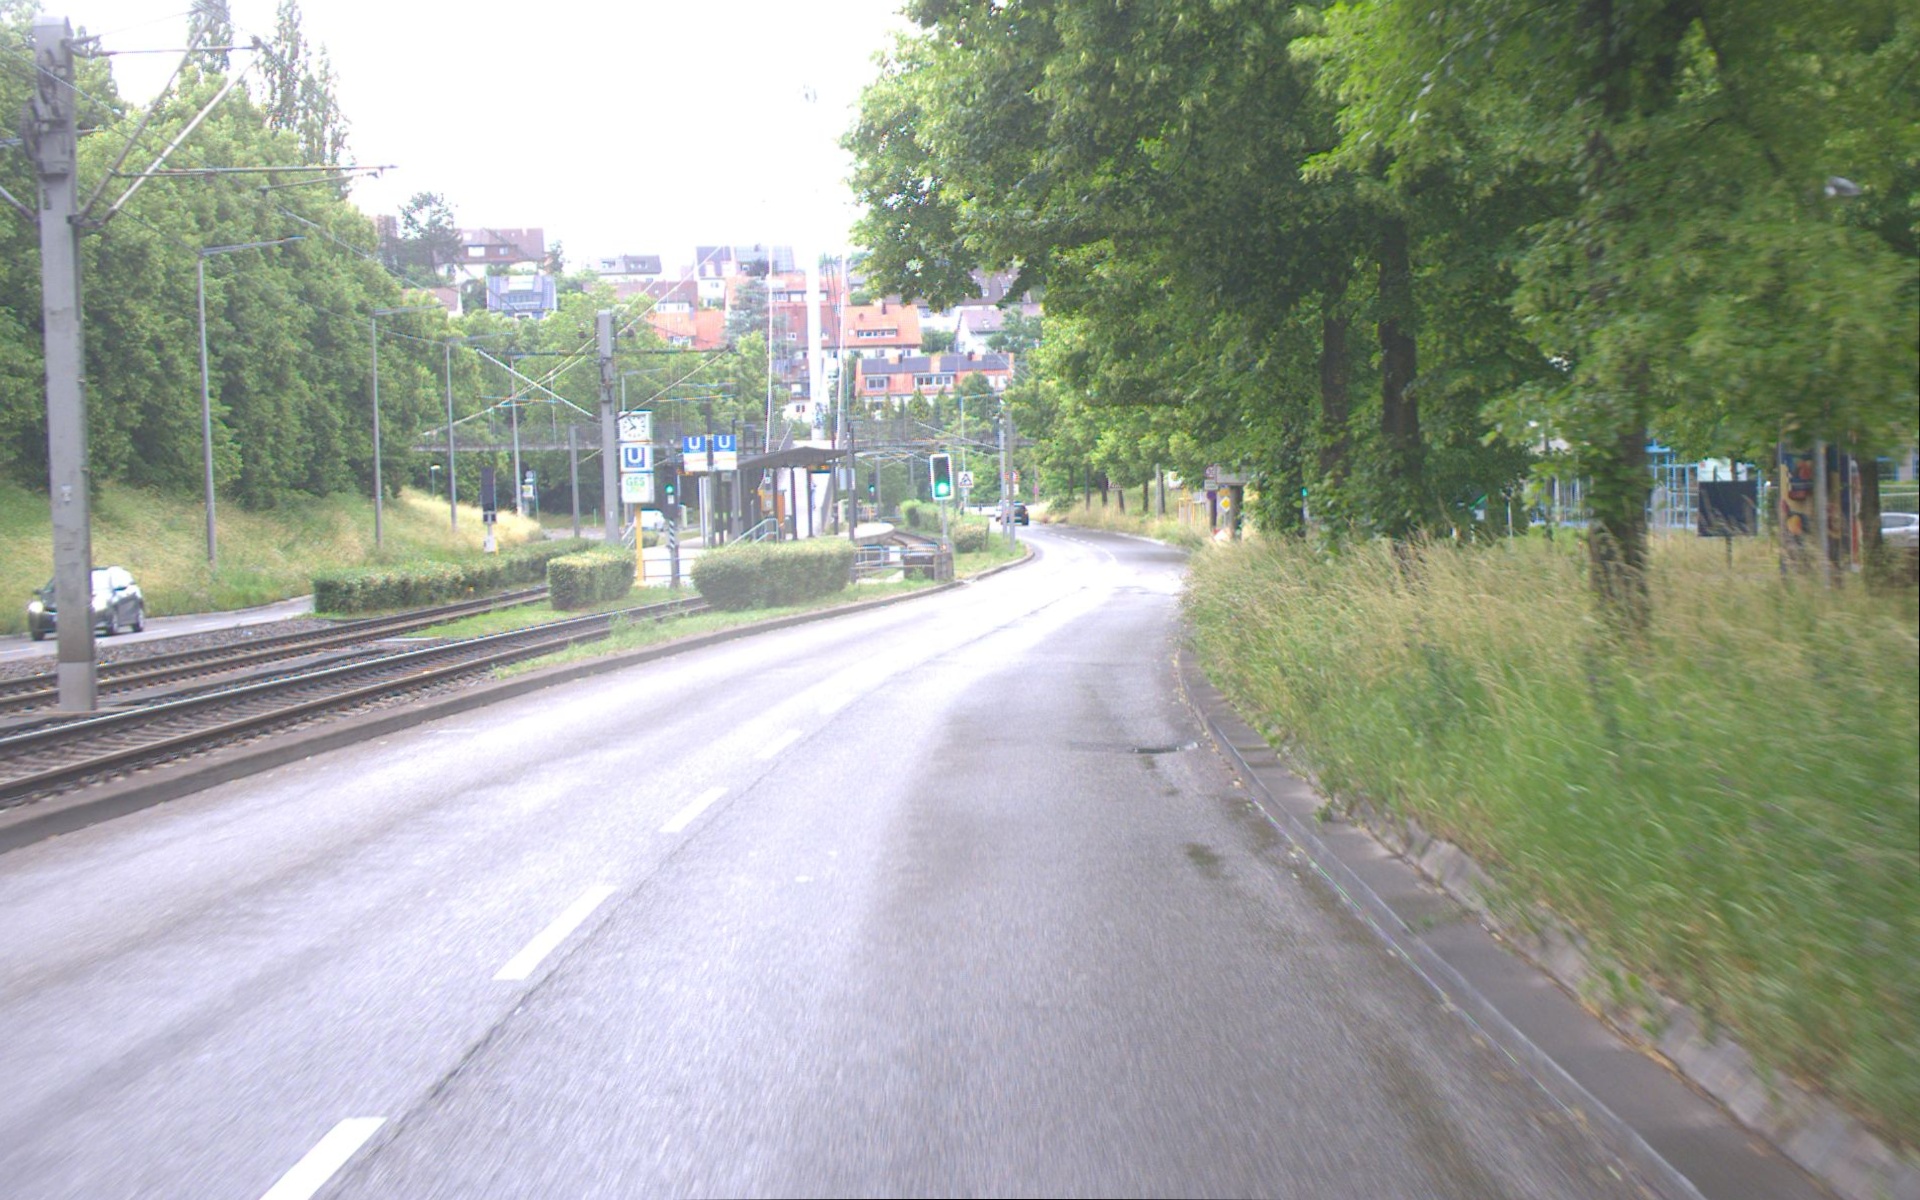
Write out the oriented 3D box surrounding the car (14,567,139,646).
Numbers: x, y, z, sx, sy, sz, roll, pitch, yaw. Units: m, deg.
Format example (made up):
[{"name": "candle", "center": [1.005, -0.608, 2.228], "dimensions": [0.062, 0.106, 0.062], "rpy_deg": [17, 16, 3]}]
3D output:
[{"name": "car", "center": [-18.989, 0.115, 74.041], "dimensions": [1.784, 1.546, 3.962], "rpy_deg": [-3, 1, -3]}]
